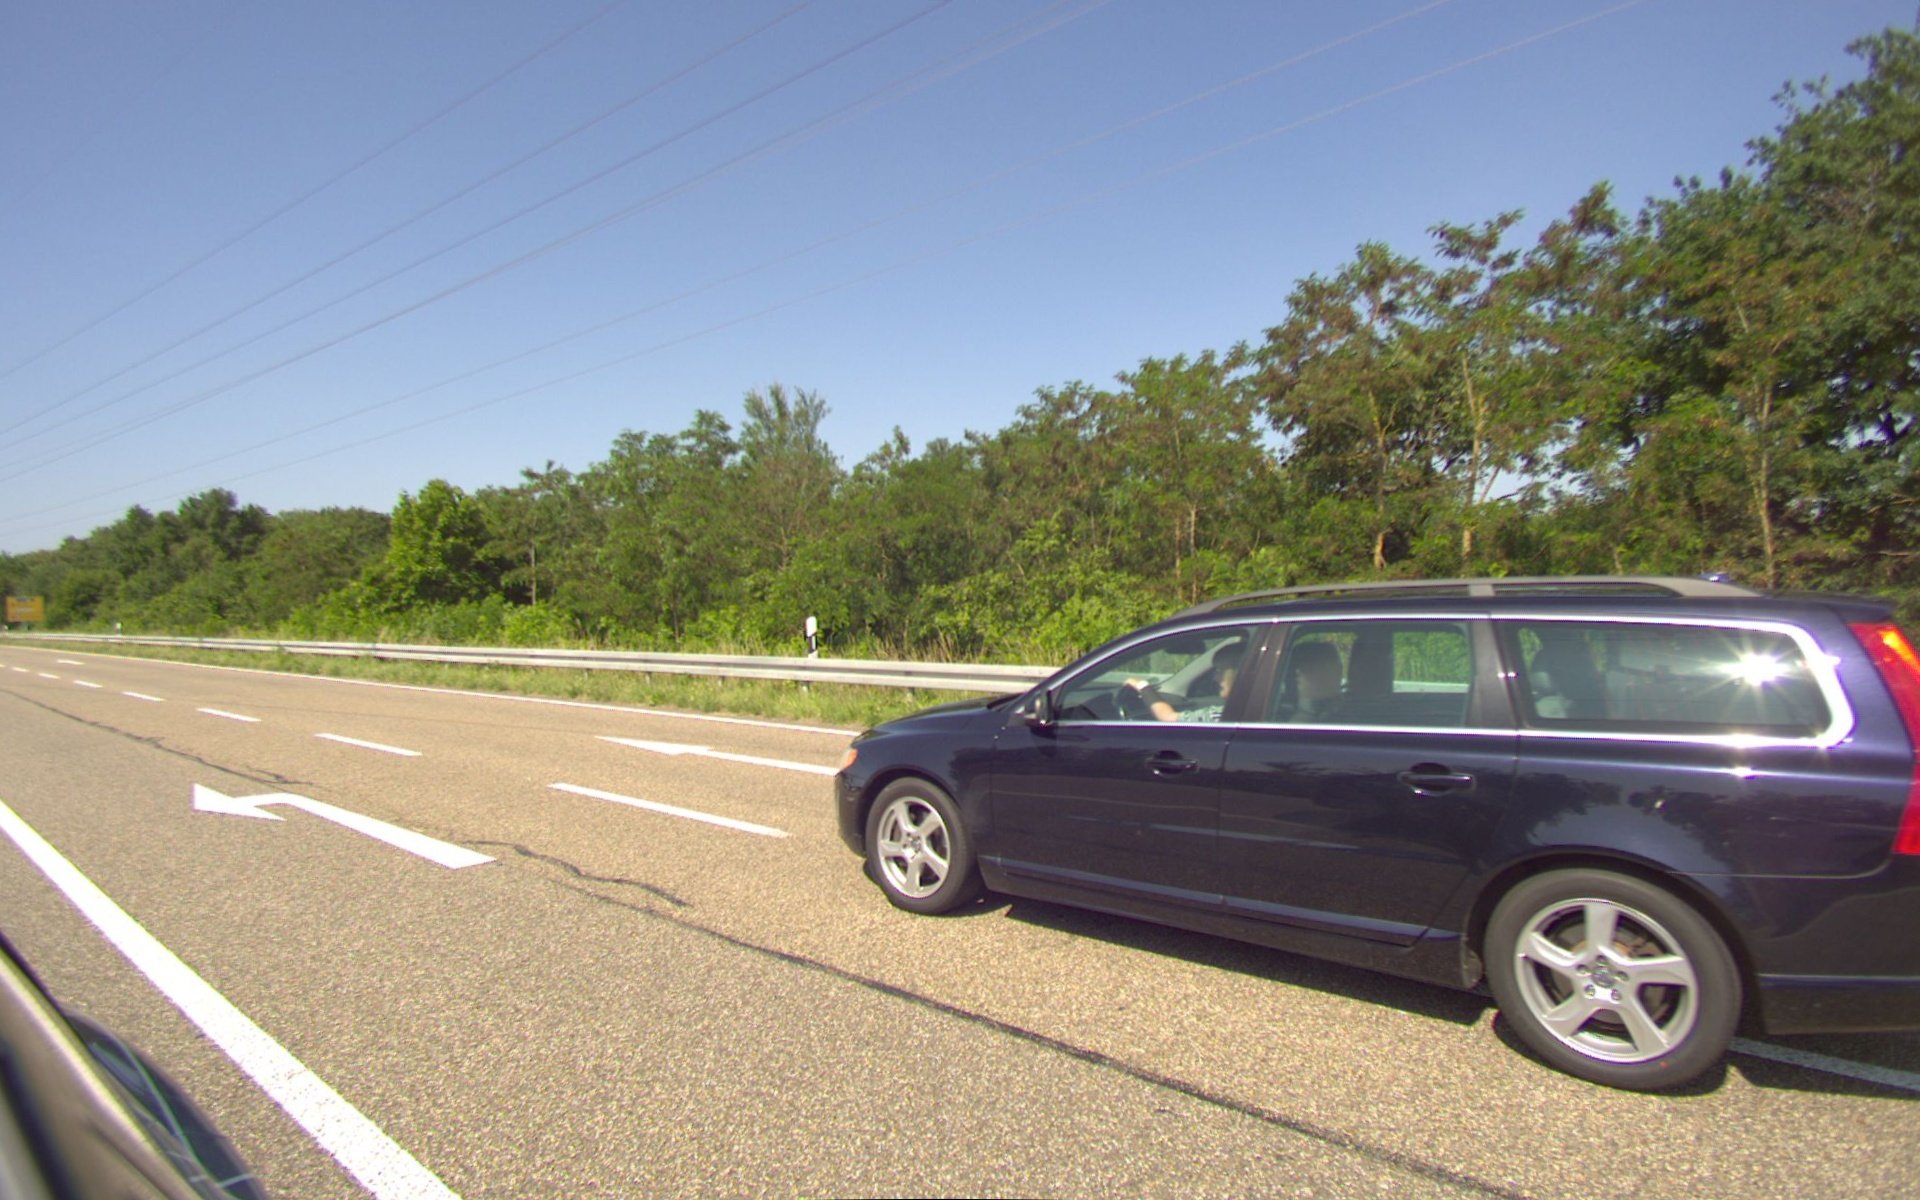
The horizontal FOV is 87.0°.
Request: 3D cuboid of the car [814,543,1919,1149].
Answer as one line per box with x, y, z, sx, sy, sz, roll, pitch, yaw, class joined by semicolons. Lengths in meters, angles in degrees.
1.514;0.636;4.333;4.418;1.502;1.710;-1;0;40;car
